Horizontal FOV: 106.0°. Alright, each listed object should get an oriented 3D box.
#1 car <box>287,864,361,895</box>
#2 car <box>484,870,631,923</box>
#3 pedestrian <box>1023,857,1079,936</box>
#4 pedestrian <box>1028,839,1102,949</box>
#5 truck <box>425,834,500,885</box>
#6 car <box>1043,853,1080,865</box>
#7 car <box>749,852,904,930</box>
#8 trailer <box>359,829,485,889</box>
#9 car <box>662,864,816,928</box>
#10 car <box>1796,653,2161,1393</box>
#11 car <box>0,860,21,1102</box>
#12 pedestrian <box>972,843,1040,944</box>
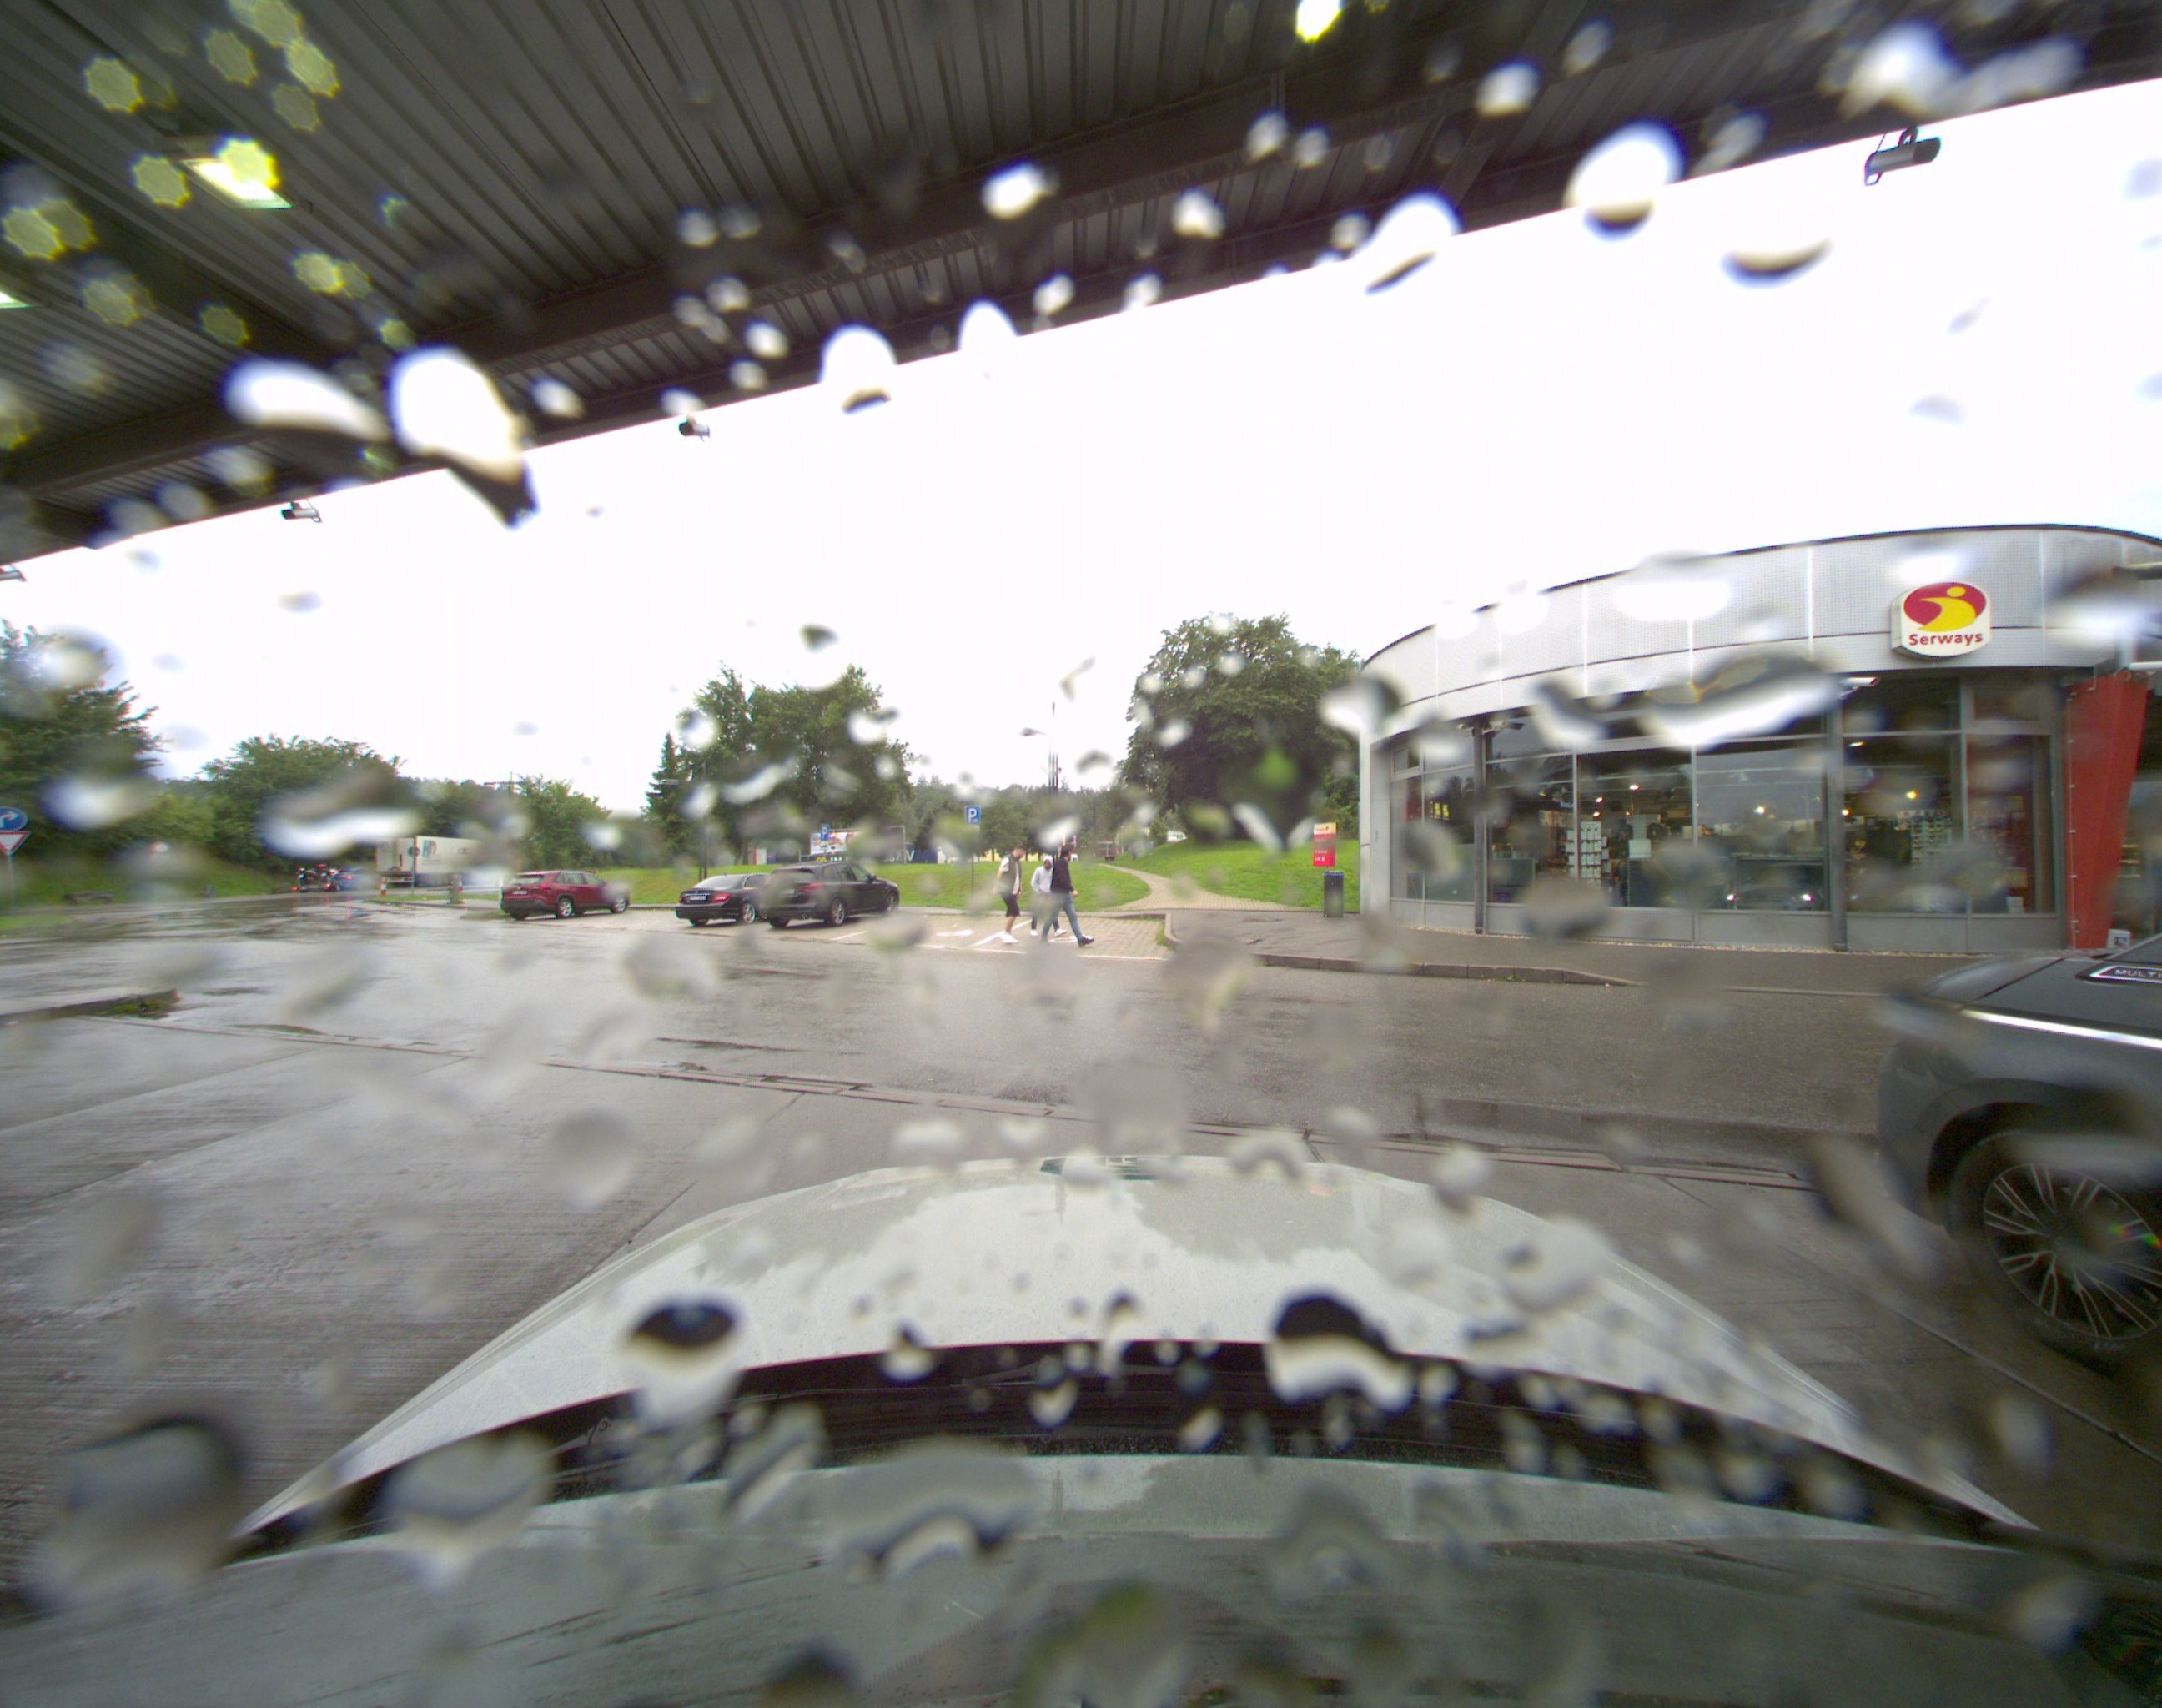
[{"bbox_3d":[-49.196,1.608,53.031,1.934,1.838,4.361,-1,0,-20],"label":"car"},{"bbox_3d":[-18.159,1.420,28.534,1.873,1.596,4.364,-2,0,8],"label":"car"},{"bbox_3d":[-0.613,0.843,16.551,0.880,1.550,0.665,-2,0,31],"label":"pedestrian"},{"bbox_3d":[-0.276,0.688,14.471,0.989,1.864,0.804,-2,0,30],"label":"pedestrian"},{"bbox_3d":[-57.107,0.506,75.435,3.467,4.557,6.694,0,-1,-18],"label":"truck"},{"bbox_3d":[-3.221,0.804,133.975,5.376,2.013,2.468,-1,0,21],"label":"car"},{"bbox_3d":[-6.617,0.891,21.752,1.871,1.828,4.429,-2,0,13],"label":"car"},{"bbox_3d":[-54.885,0.432,68.494,3.466,4.557,13.827,0,-1,-18],"label":"trailer"},{"bbox_3d":[-9.618,1.141,23.309,1.871,1.565,4.200,-2,0,13],"label":"car"},{"bbox_3d":[3.713,0.439,1.240,1.809,1.948,4.002,-1,0,2],"label":"car"},{"bbox_3d":[-7.808,0.822,2.826,1.809,1.565,4.999,0,0,-2],"label":"car"},{"bbox_3d":[-1.425,0.737,15.498,0.963,1.848,0.778,-2,0,30],"label":"pedestrian"}]
